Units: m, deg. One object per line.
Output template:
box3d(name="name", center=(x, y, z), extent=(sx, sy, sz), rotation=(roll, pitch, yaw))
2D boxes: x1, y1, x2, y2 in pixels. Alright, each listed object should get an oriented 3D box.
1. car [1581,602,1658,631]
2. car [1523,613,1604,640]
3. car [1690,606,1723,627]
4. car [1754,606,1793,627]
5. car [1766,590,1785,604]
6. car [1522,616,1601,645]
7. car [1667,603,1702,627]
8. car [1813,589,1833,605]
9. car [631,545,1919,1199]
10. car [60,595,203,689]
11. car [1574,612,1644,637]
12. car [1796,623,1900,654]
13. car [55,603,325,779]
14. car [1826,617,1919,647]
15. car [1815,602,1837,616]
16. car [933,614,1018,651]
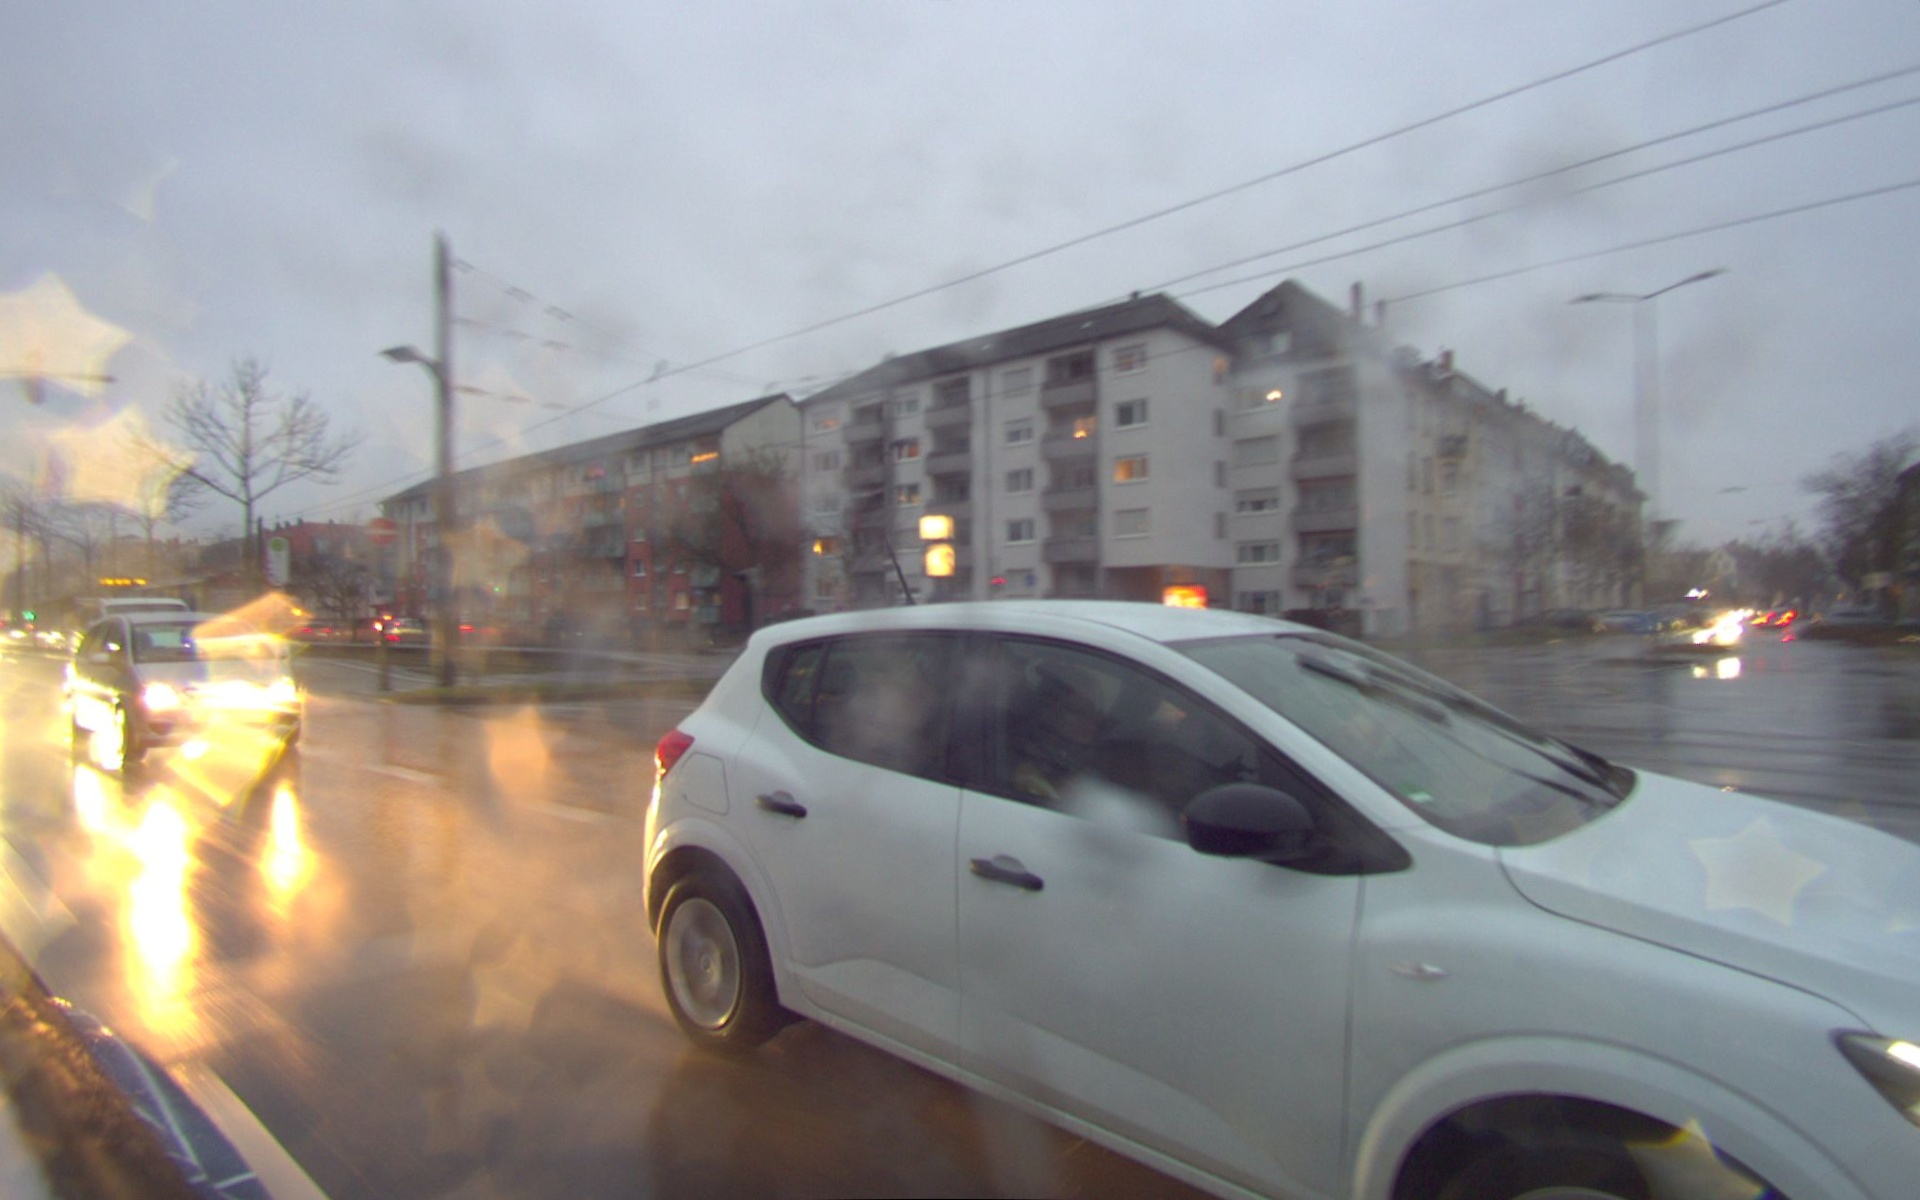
box3d(name="car", center=(42.987, 1.069, 65.991), extent=(3.998, 1.813, 1.554), rotation=(0, 1, 41))
box3d(name="car", center=(31.779, 1.374, 53.299), extent=(3.452, 1.308, 1.568), rotation=(0, 1, 41))
box3d(name="car", center=(53.802, 1.196, 72.914), extent=(1.490, 1.371, 3.389), rotation=(0, 1, 44))
box3d(name="car", center=(55.972, 1.124, 69.626), extent=(3.482, 1.357, 1.686), rotation=(-2, 1, -44))
box3d(name="car", center=(105.410, -0.392, 130.879), extent=(1.757, 1.612, 3.862), rotation=(-1, 1, 37))
box3d(name="car", center=(34.202, 1.705, 57.591), extent=(3.614, 1.533, 1.658), rotation=(0, 1, 41))
box3d(name="car", center=(61.926, 1.258, 86.443), extent=(2.000, 1.844, 3.809), rotation=(0, 1, 43))
box3d(name="car", center=(98.213, -0.335, 115.163), extent=(1.510, 1.726, 3.560), rotation=(0, 1, 44))
box3d(name="car", center=(0.912, 0.652, 2.794), extent=(3.999, 1.477, 1.690), rotation=(0, 1, 42))
box3d(name="car", center=(-20.240, 0.975, 24.639), extent=(4.881, 2.049, 1.932), rotation=(-2, 0, 42))
box3d(name="car", center=(41.003, 1.542, 63.965), extent=(3.513, 1.456, 1.426), rotation=(0, 1, 41))
box3d(name="car", center=(41.962, 1.796, 47.915), extent=(3.614, 1.352, 1.581), rotation=(0, 1, 41))
box3d(name="car", center=(-9.317, 0.915, 12.132), extent=(4.001, 1.689, 1.993), rotation=(0, 1, 44))
box3d(name="car", center=(45.048, 1.532, 49.873), extent=(3.614, 1.352, 1.581), rotation=(0, 1, 41))
box3d(name="car", center=(84.431, 0.890, 98.626), extent=(1.444, 1.237, 3.560), rotation=(0, 1, 44))
box3d(name="car", center=(0.704, 1.320, 42.308), extent=(1.695, 1.377, 3.764), rotation=(-1, 1, 36))
